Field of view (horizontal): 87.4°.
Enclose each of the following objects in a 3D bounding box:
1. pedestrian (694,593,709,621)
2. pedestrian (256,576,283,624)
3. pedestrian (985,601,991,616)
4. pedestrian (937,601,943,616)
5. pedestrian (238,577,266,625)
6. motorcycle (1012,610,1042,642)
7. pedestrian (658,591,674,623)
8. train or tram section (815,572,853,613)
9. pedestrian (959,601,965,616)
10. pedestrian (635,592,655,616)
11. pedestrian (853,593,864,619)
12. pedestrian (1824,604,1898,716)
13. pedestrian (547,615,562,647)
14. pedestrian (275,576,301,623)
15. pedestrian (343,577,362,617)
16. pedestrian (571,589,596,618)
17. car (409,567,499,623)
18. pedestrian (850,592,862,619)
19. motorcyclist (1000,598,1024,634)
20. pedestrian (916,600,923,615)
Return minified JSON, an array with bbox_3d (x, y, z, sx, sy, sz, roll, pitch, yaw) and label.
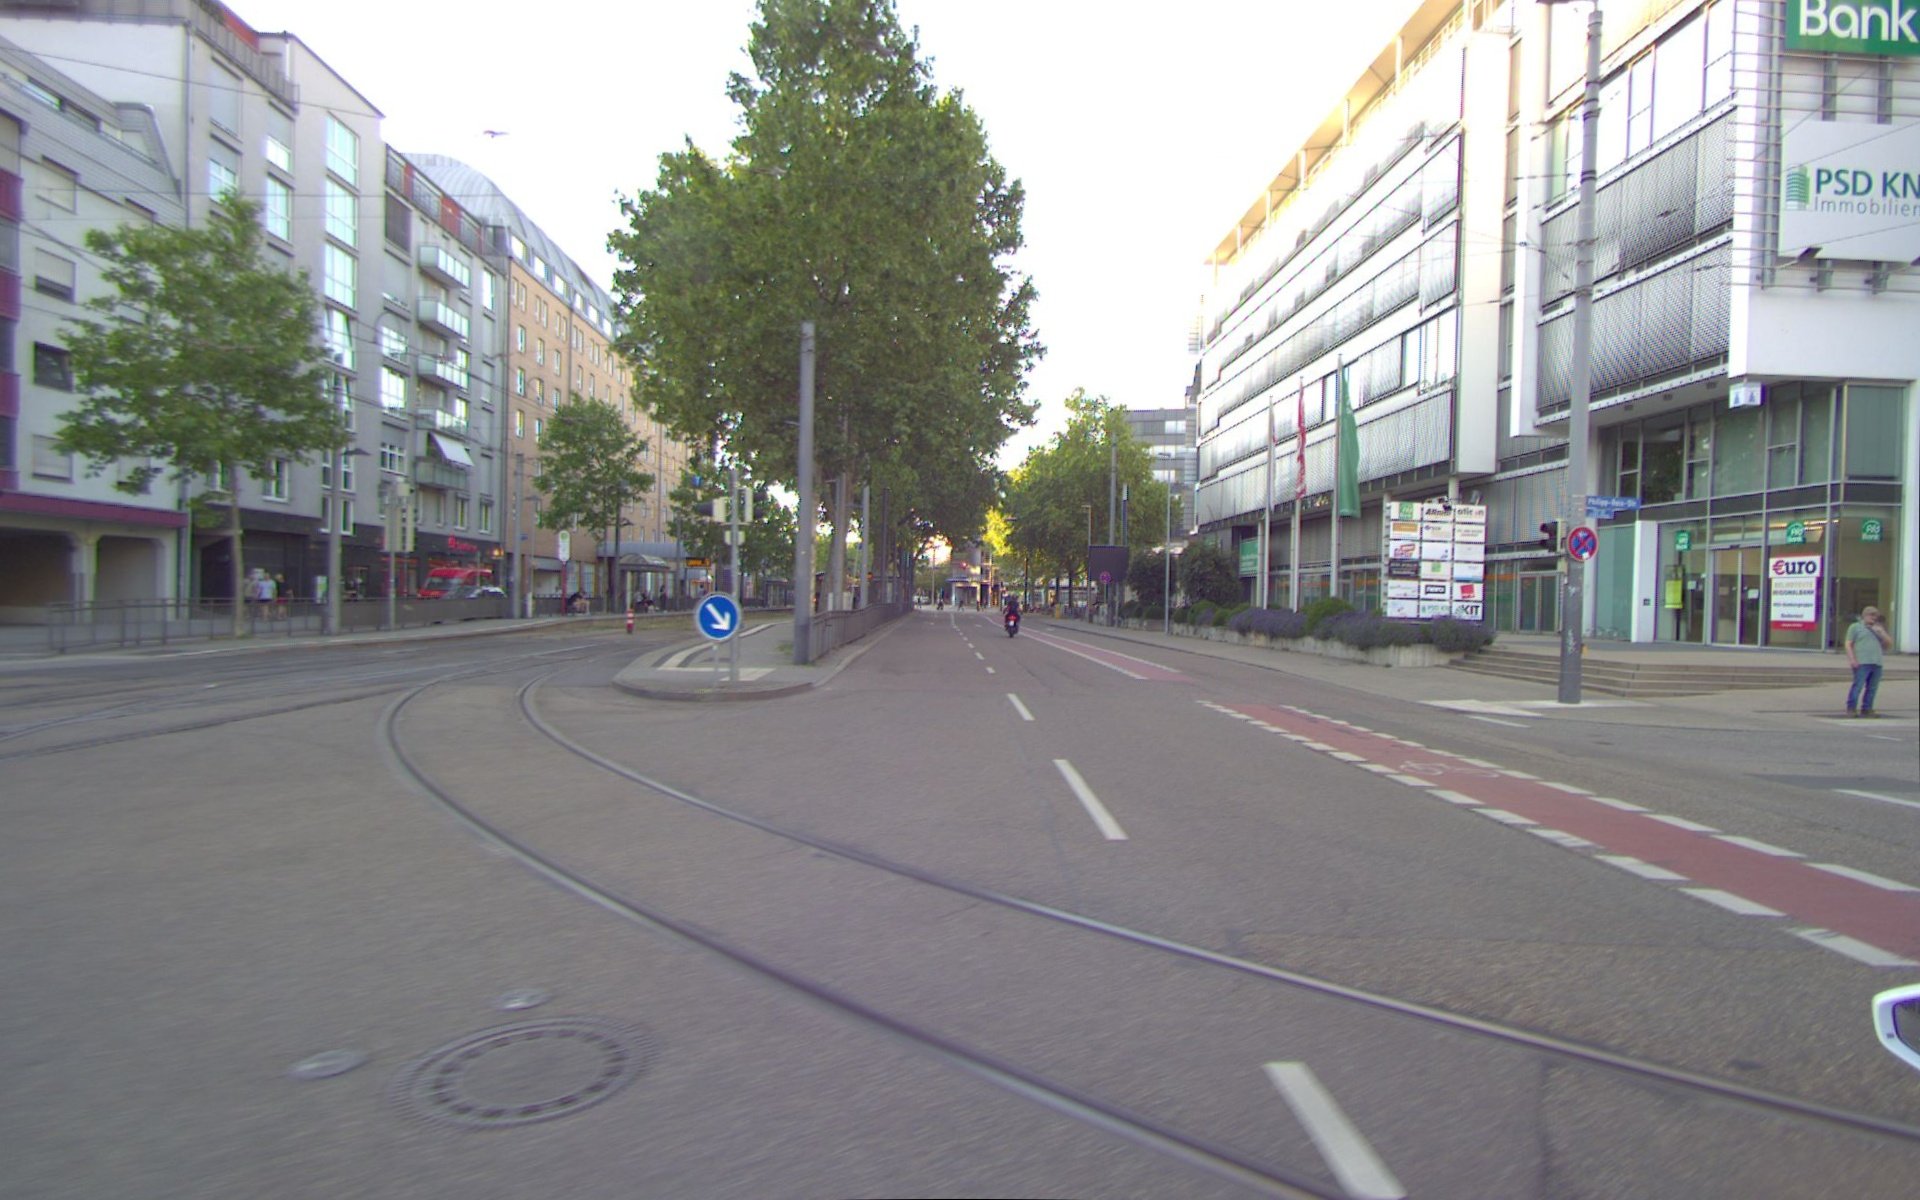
[{"bbox_3d":[-16.503,0.444,64.087,0.744,1.701,0.833,1,0,-1],"label":"pedestrian"},{"bbox_3d":[-26.012,0.010,37.856,0.642,1.799,0.547,1,0,-6],"label":"pedestrian"},{"bbox_3d":[3.809,1.138,137.602,0.801,2.040,0.924,1,0,1],"label":"pedestrian"},{"bbox_3d":[-2.702,1.104,136.898,0.801,2.040,0.924,1,0,1],"label":"pedestrian"},{"bbox_3d":[-26.836,0.032,38.064,0.642,1.799,0.547,1,0,-6],"label":"pedestrian"},{"bbox_3d":[2.786,1.061,42.200,0.815,1.256,2.489,1,0,-6],"label":"motorcycle"},{"bbox_3d":[-18.108,0.434,61.795,0.764,1.951,0.733,1,0,-2],"label":"pedestrian"},{"bbox_3d":[-10.942,-0.572,87.506,2.998,3.212,13.475,1,0,-7],"label":"train or tram section"},{"bbox_3d":[0.222,1.183,135.962,0.801,2.040,0.924,1,0,1],"label":"pedestrian"},{"bbox_3d":[-17.646,0.205,56.244,0.764,1.310,0.733,1,0,17],"label":"pedestrian"},{"bbox_3d":[-7.684,0.433,76.361,0.723,1.924,0.640,1,0,1],"label":"pedestrian"},{"bbox_3d":[14.323,0.942,15.981,0.646,1.734,0.548,1,0,7],"label":"pedestrian"},{"bbox_3d":[-23.651,1.804,58.589,0.642,1.799,0.547,1,0,-6],"label":"pedestrian"},{"bbox_3d":[-26.185,-0.012,39.156,0.642,1.799,0.547,1,0,-6],"label":"pedestrian"},{"bbox_3d":[-27.850,-0.149,46.056,0.539,1.799,0.653,1,0,-14],"label":"pedestrian"},{"bbox_3d":[-17.241,0.173,45.982,0.764,1.310,0.733,1,0,17],"label":"pedestrian"},{"bbox_3d":[-25.104,-0.206,50.073,2.054,2.585,5.445,1,0,-5],"label":"car"},{"bbox_3d":[-7.691,0.392,74.196,0.723,1.924,0.640,1,0,1],"label":"pedestrian"},{"bbox_3d":[2.187,0.661,42.275,0.815,1.493,1.206,1,0,-6],"label":"motorcyclist"},{"bbox_3d":[-5.534,1.046,136.558,0.801,2.040,0.924,1,0,1],"label":"pedestrian"}]
